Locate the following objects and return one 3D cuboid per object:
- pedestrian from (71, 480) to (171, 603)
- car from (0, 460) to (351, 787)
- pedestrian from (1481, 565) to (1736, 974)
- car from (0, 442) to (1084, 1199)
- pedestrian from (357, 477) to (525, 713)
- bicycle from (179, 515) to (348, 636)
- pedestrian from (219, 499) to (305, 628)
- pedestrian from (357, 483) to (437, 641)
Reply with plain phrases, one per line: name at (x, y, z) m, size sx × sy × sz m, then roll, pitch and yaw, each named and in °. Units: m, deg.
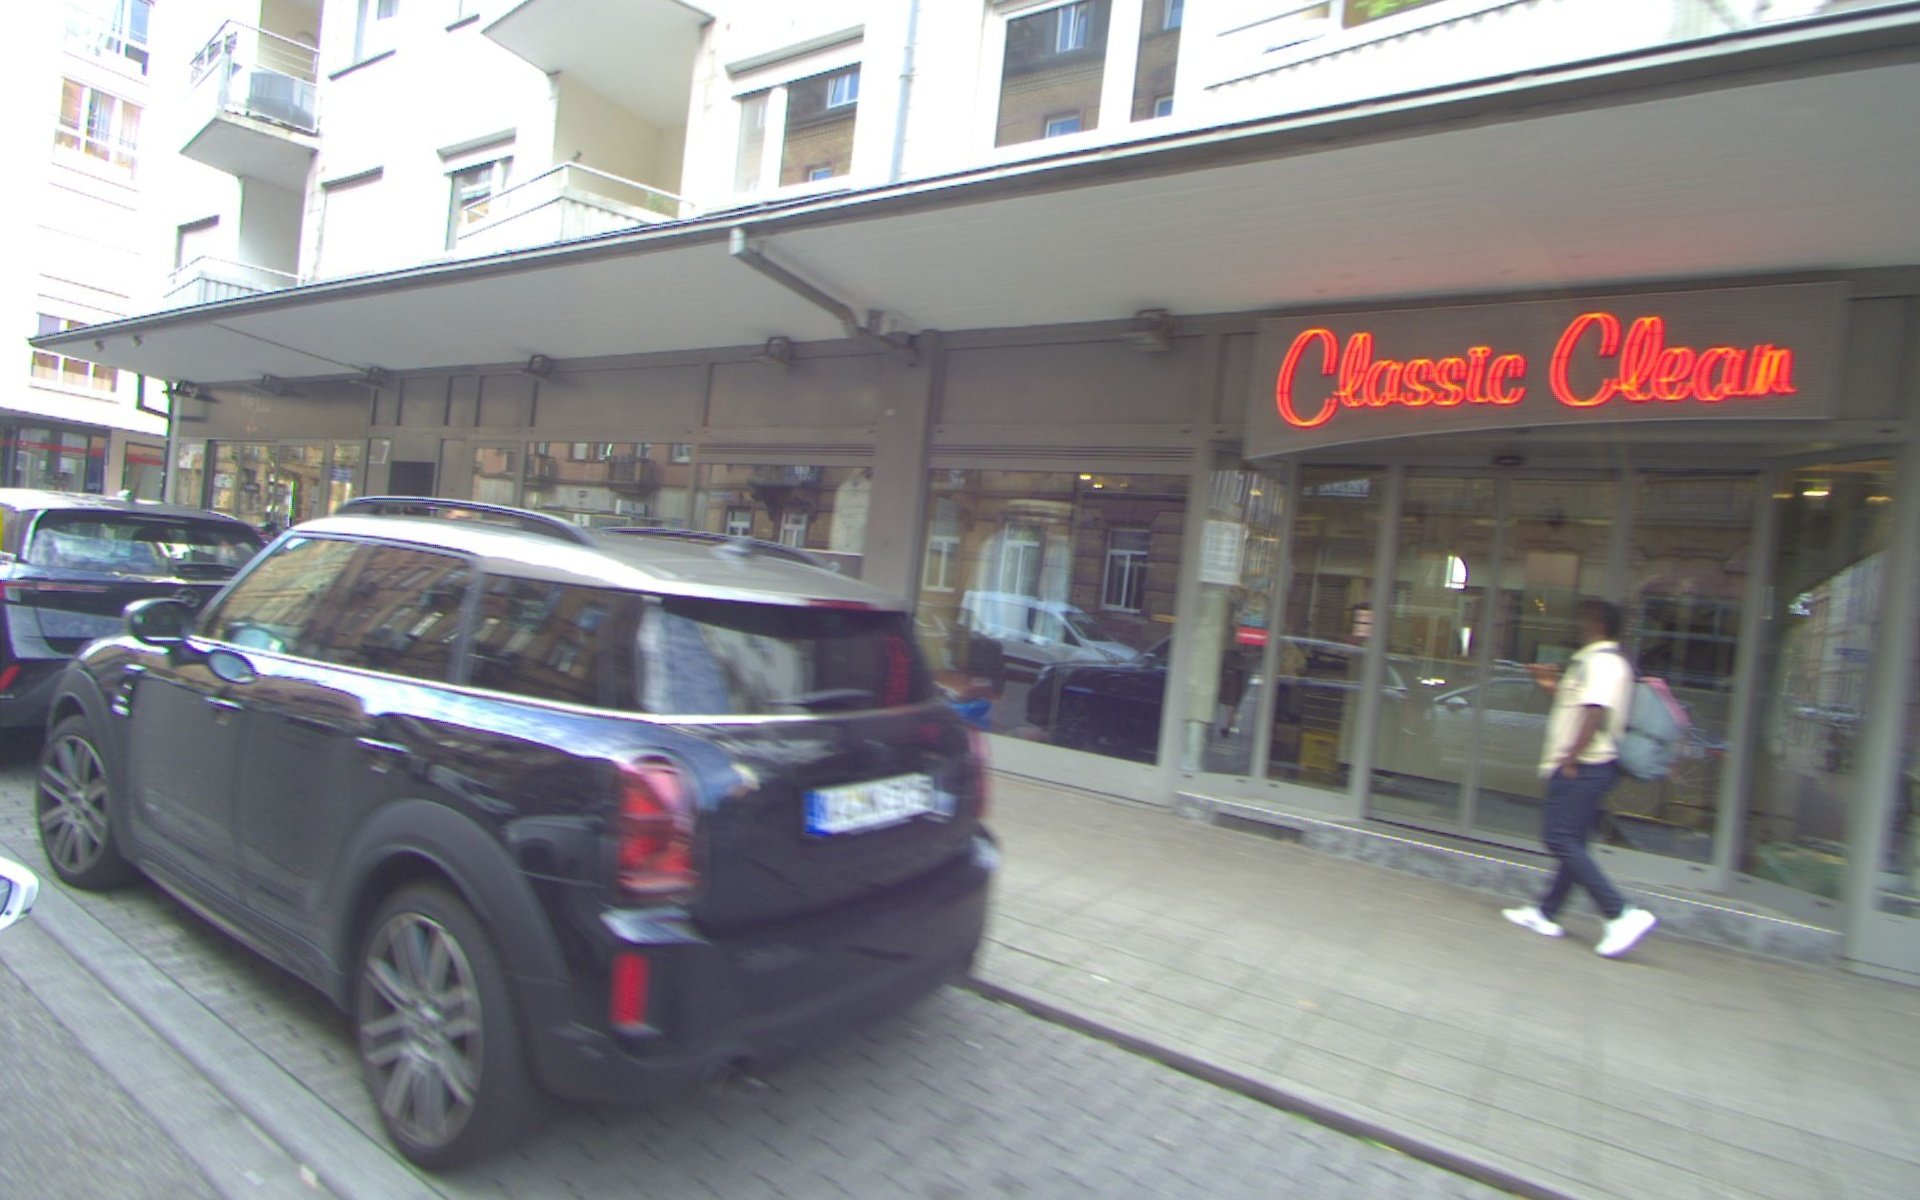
pedestrian at (-11.804, -0.816, 14.163) m, size 0.768 × 1.609 × 0.824 m, roll 7°, pitch 1°, yaw 36°
car at (-5.887, -0.010, 6.552) m, size 3.838 × 1.597 × 1.689 m, roll 6°, pitch 1°, yaw 33°
pedestrian at (3.157, 0.761, 4.964) m, size 0.803 × 1.771 × 0.713 m, roll 7°, pitch 4°, yaw 32°
car at (-1.749, 0.422, 3.725) m, size 3.861 × 1.626 × 1.793 m, roll 7°, pitch 1°, yaw 34°
pedestrian at (-4.235, -0.060, 8.202) m, size 1.107 × 1.750 × 0.612 m, roll 7°, pitch 4°, yaw 28°
bicycle at (-8.947, -0.333, 12.883) m, size 2.459 × 1.308 × 0.918 m, roll 7°, pitch 2°, yaw 34°
pedestrian at (-9.200, -0.480, 13.261) m, size 0.768 × 1.610 × 0.643 m, roll 7°, pitch 3°, yaw 36°
pedestrian at (-7.150, -0.475, 12.808) m, size 0.701 × 1.883 × 0.640 m, roll 6°, pitch 1°, yaw -27°
